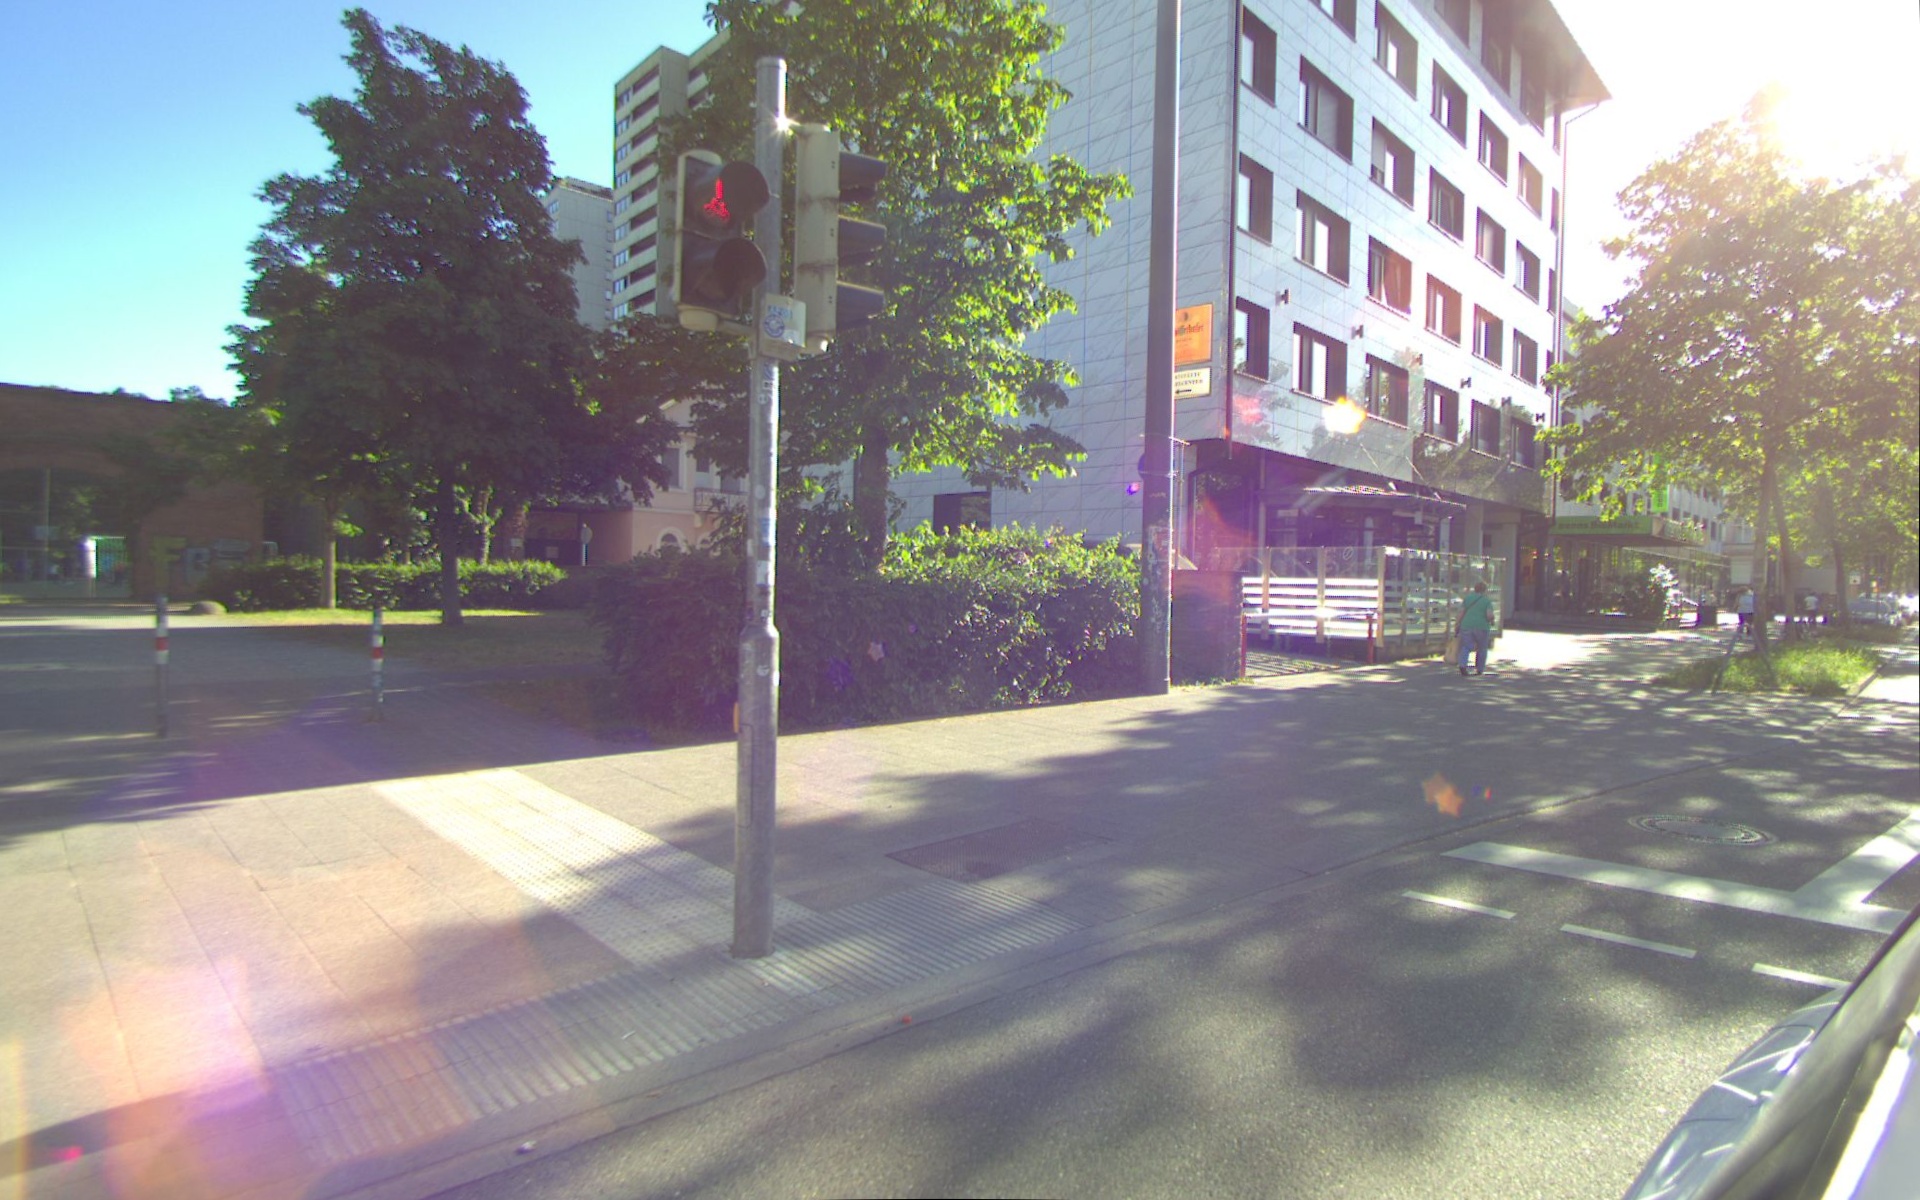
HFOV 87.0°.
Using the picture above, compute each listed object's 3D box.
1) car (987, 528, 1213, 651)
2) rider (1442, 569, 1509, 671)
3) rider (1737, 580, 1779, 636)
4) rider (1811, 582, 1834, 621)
[{"bbox_3d":[2.694,-0.290,20.081,3.988,2.123,1.969,5,4,43],"label":"car"},{"bbox_3d":[8.577,0.308,16.832,0.776,1.610,0.778,3,2,41],"label":"rider"},{"bbox_3d":[25.074,0.236,31.806,0.961,1.699,0.923,0,0,-44],"label":"rider"},{"bbox_3d":[39.046,0.064,45.814,0.757,1.749,0.881,0,0,43],"label":"rider"}]
